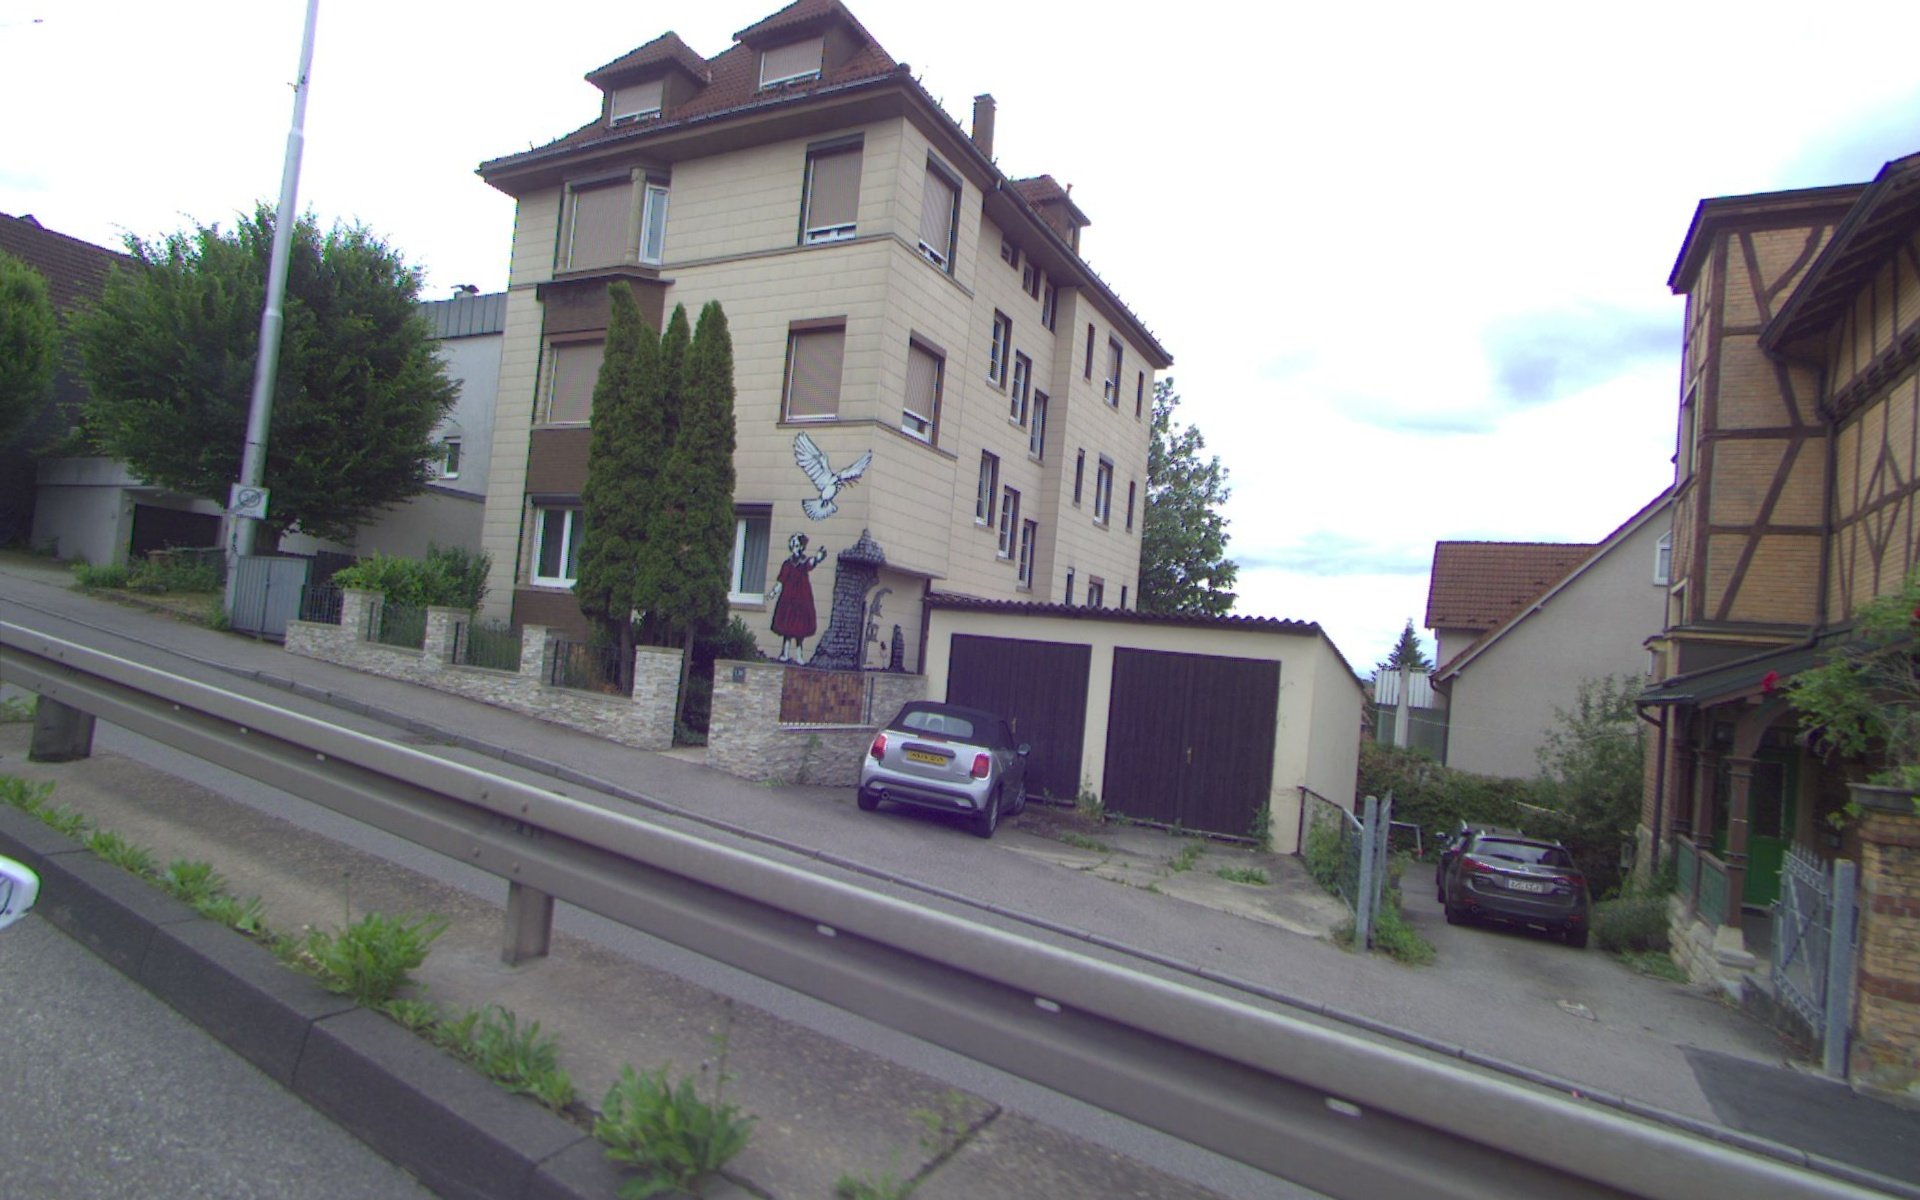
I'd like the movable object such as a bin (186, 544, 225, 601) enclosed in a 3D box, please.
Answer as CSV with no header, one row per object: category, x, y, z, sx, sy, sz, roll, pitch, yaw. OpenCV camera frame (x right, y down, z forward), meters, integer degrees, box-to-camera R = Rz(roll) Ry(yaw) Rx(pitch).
movable object such as a bin,-19.846,-0.725,26.465,0.529,1.378,0.496,8,-2,31

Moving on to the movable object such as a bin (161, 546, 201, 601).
movable object such as a bin,-20.044,-0.683,25.890,0.529,1.287,0.496,8,-2,31

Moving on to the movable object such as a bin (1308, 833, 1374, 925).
movable object such as a bin,5.096,3.718,13.457,0.612,1.017,0.534,8,-2,33

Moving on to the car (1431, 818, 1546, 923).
car,11.173,5.622,21.231,1.804,1.596,3.679,8,-7,30

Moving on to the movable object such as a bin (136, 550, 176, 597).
movable object such as a bin,-20.344,-0.678,25.455,0.529,1.069,0.496,8,-2,31

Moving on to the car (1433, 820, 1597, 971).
car,8.464,4.387,15.401,1.804,1.596,3.679,8,-7,30

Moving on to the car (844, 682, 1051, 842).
car,-0.006,1.985,13.280,1.672,1.452,3.617,8,-1,15

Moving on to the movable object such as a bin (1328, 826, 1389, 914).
movable object such as a bin,5.685,3.840,14.351,0.579,1.057,0.578,8,-2,33
